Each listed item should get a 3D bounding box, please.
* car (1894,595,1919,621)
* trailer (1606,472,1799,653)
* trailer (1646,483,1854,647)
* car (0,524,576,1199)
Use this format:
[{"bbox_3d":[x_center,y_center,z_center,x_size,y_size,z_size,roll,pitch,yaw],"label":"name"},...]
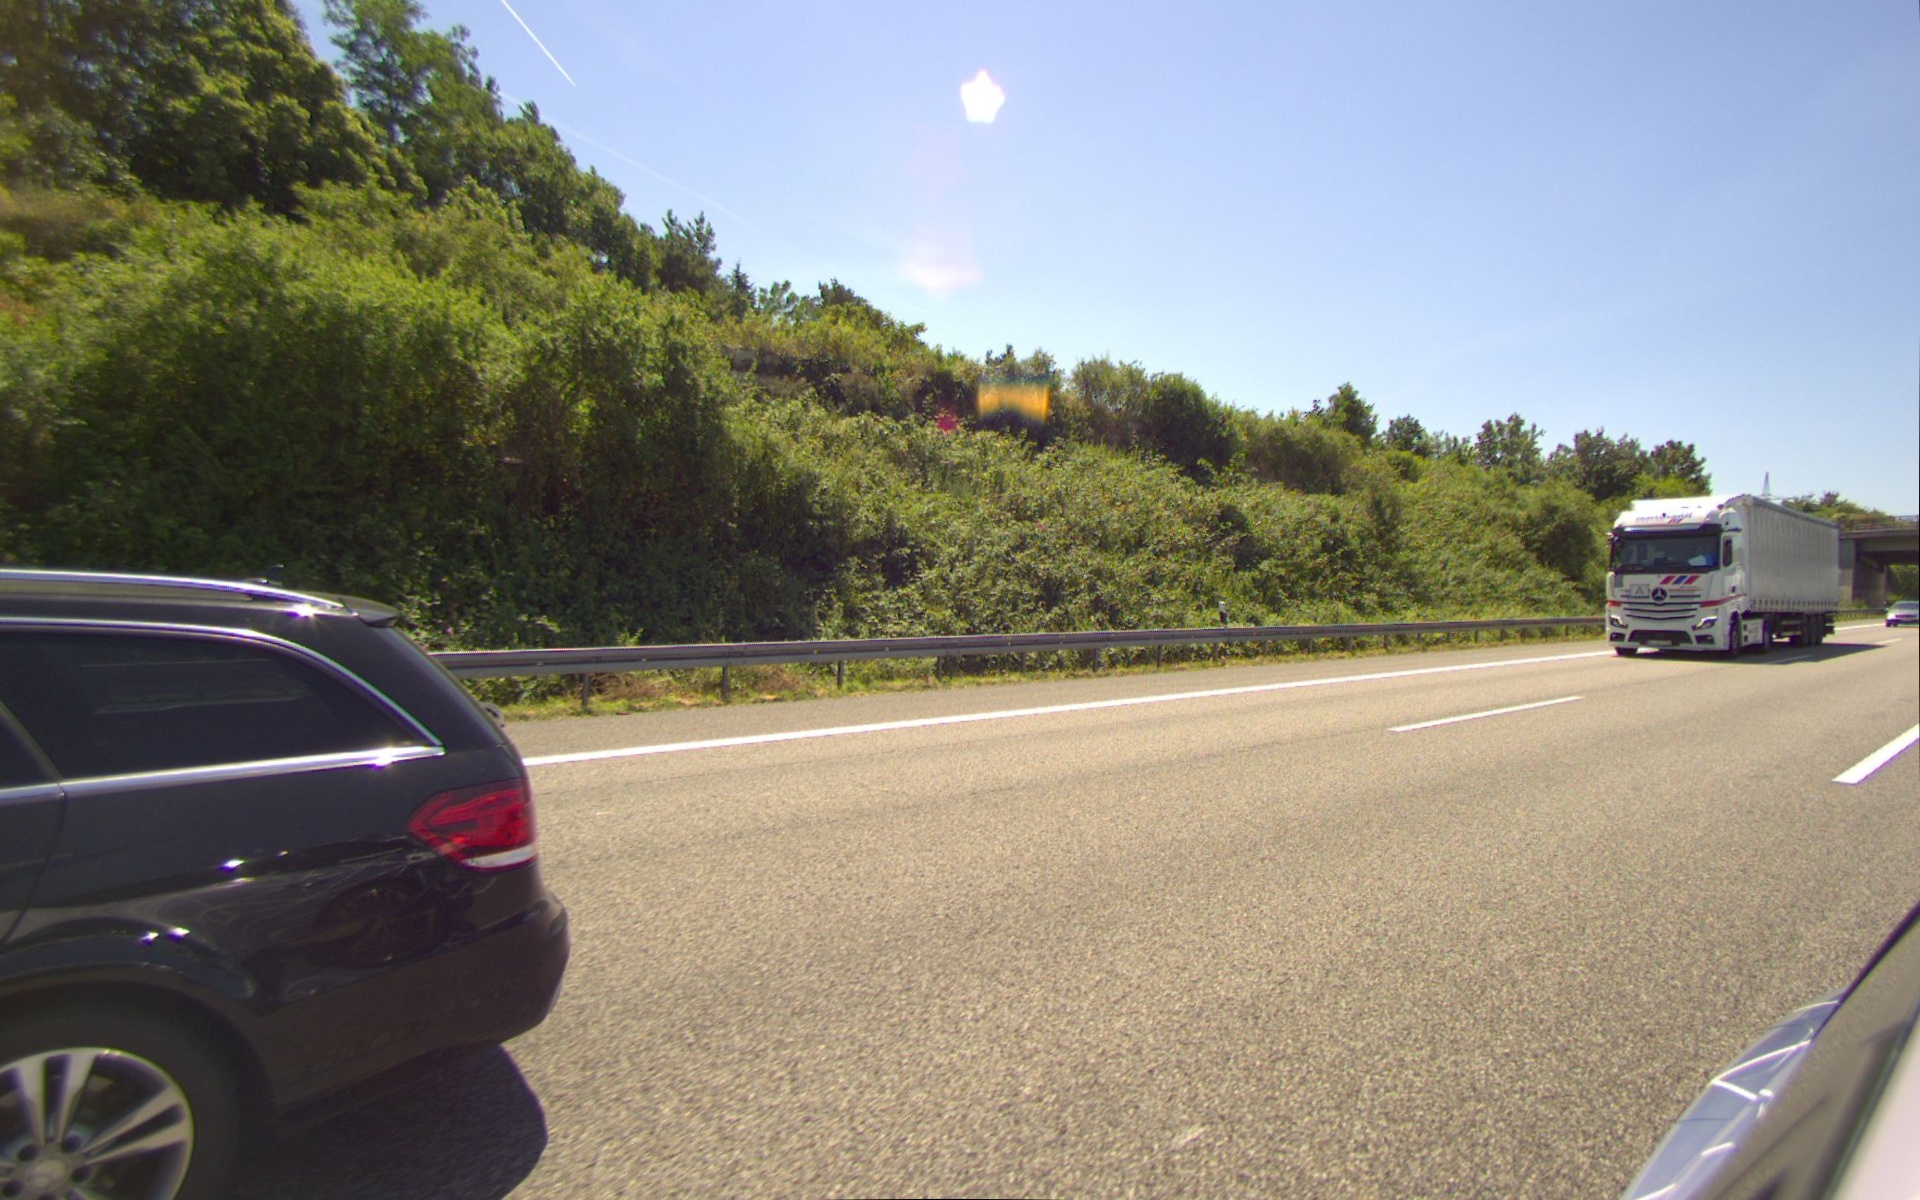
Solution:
[{"bbox_3d":[52.823,0.421,55.586,4.480,1.430,1.838,0,0,-42],"label":"car"},{"bbox_3d":[19.611,-0.903,26.570,6.671,4.154,2.717,0,1,-42],"label":"trailer"},{"bbox_3d":[24.499,-0.933,30.955,12.961,4.154,2.733,0,1,-42],"label":"trailer"},{"bbox_3d":[-3.330,0.617,1.761,4.655,1.524,1.845,-1,1,-41],"label":"car"}]
